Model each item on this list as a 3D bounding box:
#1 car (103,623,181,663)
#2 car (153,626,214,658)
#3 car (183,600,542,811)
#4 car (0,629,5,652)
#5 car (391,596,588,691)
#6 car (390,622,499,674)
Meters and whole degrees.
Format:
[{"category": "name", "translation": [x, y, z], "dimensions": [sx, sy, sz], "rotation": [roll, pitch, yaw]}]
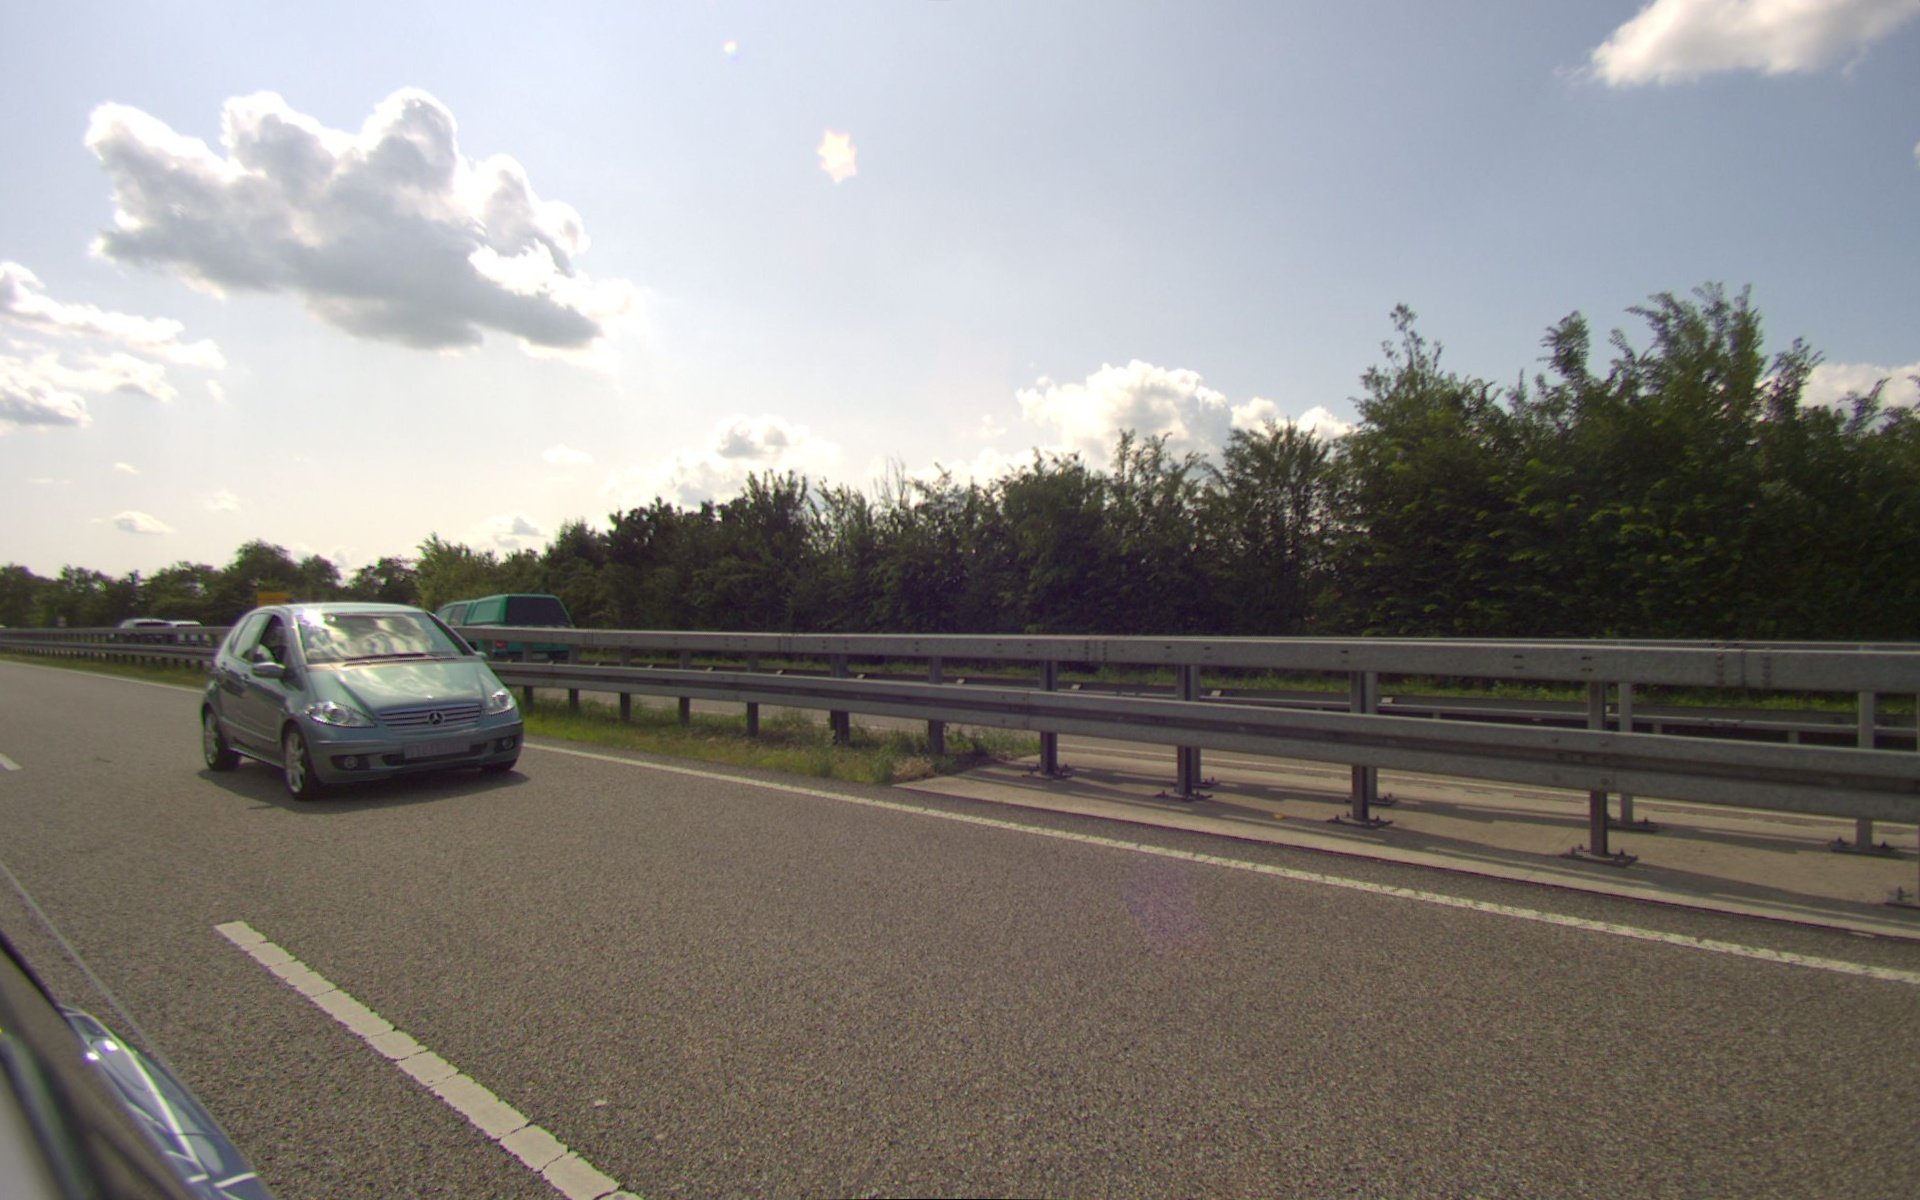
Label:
[{"category": "car", "translation": [-36.601, 1.869, 45.257], "dimensions": [4.130, 1.609, 1.973], "rotation": [-1, 0, 41]}, {"category": "car", "translation": [-44.392, 2.386, 57.829], "dimensions": [4.548, 1.658, 1.940], "rotation": [-1, 0, 42]}, {"category": "car", "translation": [-5.671, 0.810, 9.398], "dimensions": [3.998, 1.543, 1.729], "rotation": [-1, -1, 41]}, {"category": "car", "translation": [-72.531, 3.052, 75.276], "dimensions": [4.265, 1.658, 1.671], "rotation": [-1, 0, 40]}, {"category": "car", "translation": [-10.698, 0.899, 22.787], "dimensions": [5.389, 1.877, 1.973], "rotation": [-1, 0, 41]}, {"category": "car", "translation": [-17.562, 1.565, 34.401], "dimensions": [4.553, 1.587, 1.684], "rotation": [-1, 0, 41]}]
